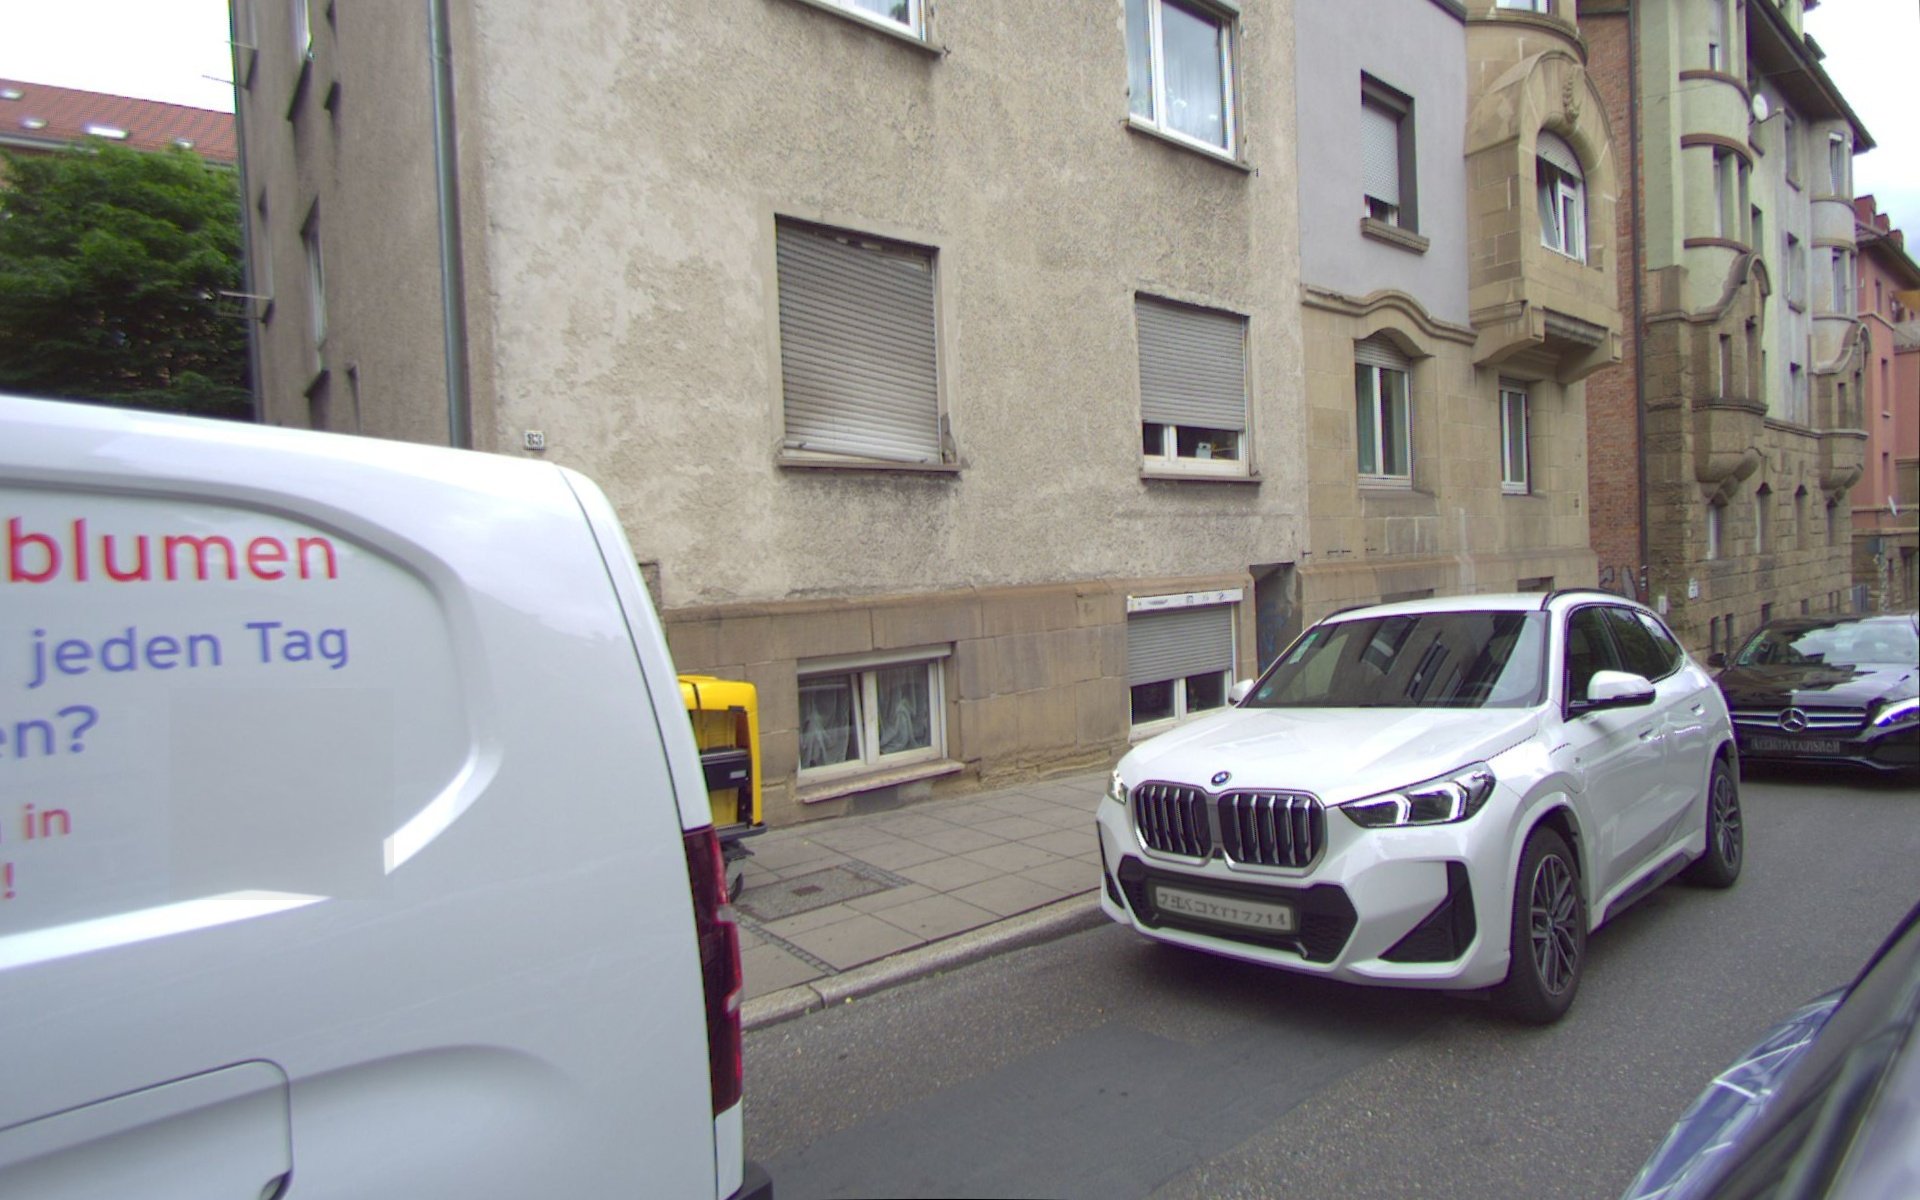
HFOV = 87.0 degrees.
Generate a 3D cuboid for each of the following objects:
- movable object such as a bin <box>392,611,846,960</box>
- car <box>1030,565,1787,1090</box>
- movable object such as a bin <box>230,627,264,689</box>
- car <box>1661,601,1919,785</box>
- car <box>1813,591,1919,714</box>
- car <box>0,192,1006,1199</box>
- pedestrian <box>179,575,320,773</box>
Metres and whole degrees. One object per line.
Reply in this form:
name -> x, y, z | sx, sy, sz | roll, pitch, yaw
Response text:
movable object such as a bin -> -1.770, 0.795, 5.390 | 1.979, 1.391, 1.223 | -1, 2, -43
car -> 2.552, 0.721, 5.191 | 4.276, 1.576, 1.857 | -1, -4, -42
movable object such as a bin -> -10.982, 0.887, 15.591 | 0.405, 0.923, 0.340 | 0, 0, -40
car -> 8.469, 0.744, 9.658 | 4.133, 1.395, 1.882 | -1, -3, -41
car -> 13.553, 0.628, 13.954 | 4.226, 1.534, 1.935 | -1, -3, -40
car -> -2.290, 0.580, 0.939 | 4.597, 1.798, 1.977 | -1, -3, -42
pedestrian -> -6.560, 0.638, 9.350 | 0.808, 1.666, 0.773 | 0, 6, 42
